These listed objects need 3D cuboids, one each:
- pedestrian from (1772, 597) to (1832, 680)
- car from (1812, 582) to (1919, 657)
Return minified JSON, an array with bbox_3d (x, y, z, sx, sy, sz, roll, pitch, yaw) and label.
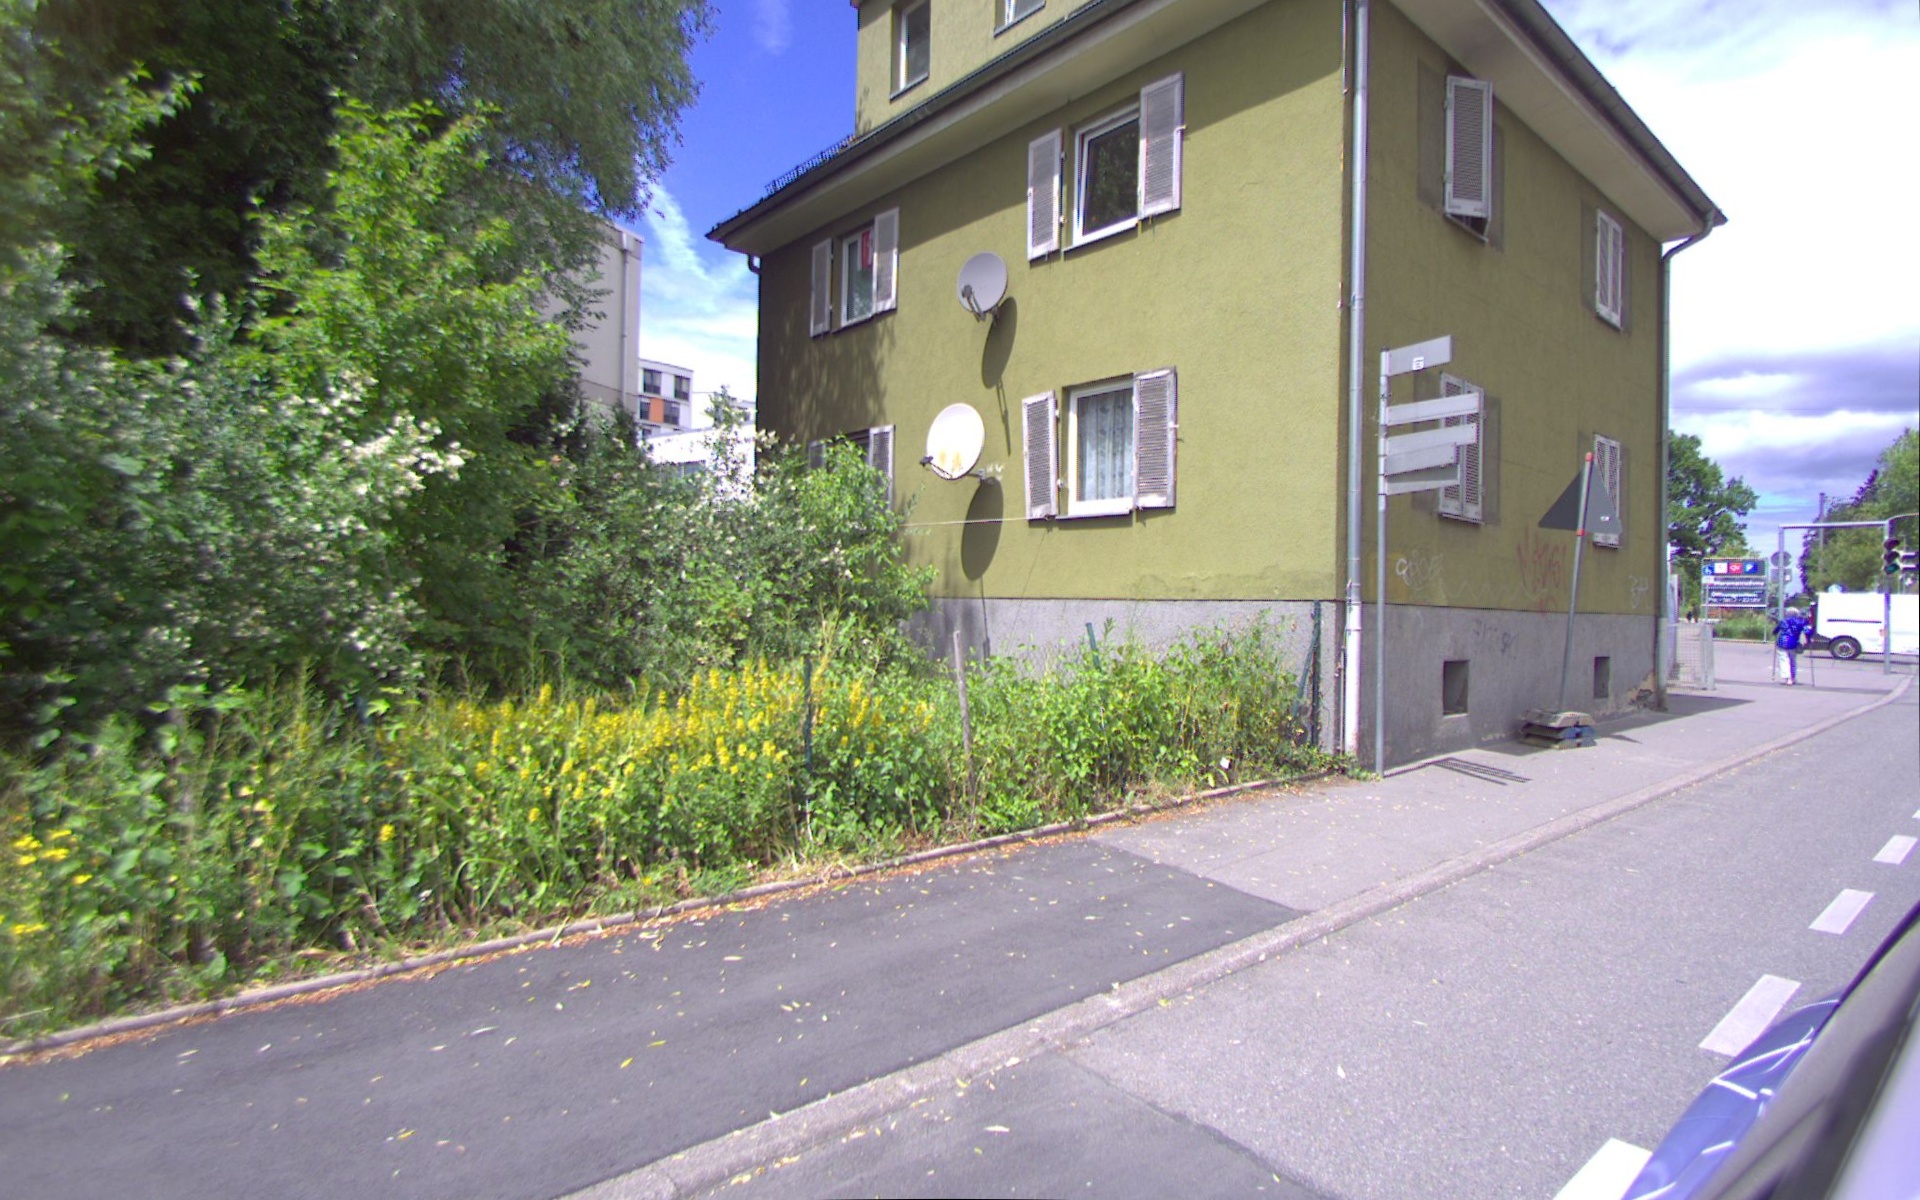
[{"bbox_3d":[16.863,0.746,20.263,0.824,1.592,0.972,2,1,44],"label":"pedestrian"},{"bbox_3d":[27.588,0.566,28.493,1.967,2.049,5.337,0,1,-45],"label":"car"}]
